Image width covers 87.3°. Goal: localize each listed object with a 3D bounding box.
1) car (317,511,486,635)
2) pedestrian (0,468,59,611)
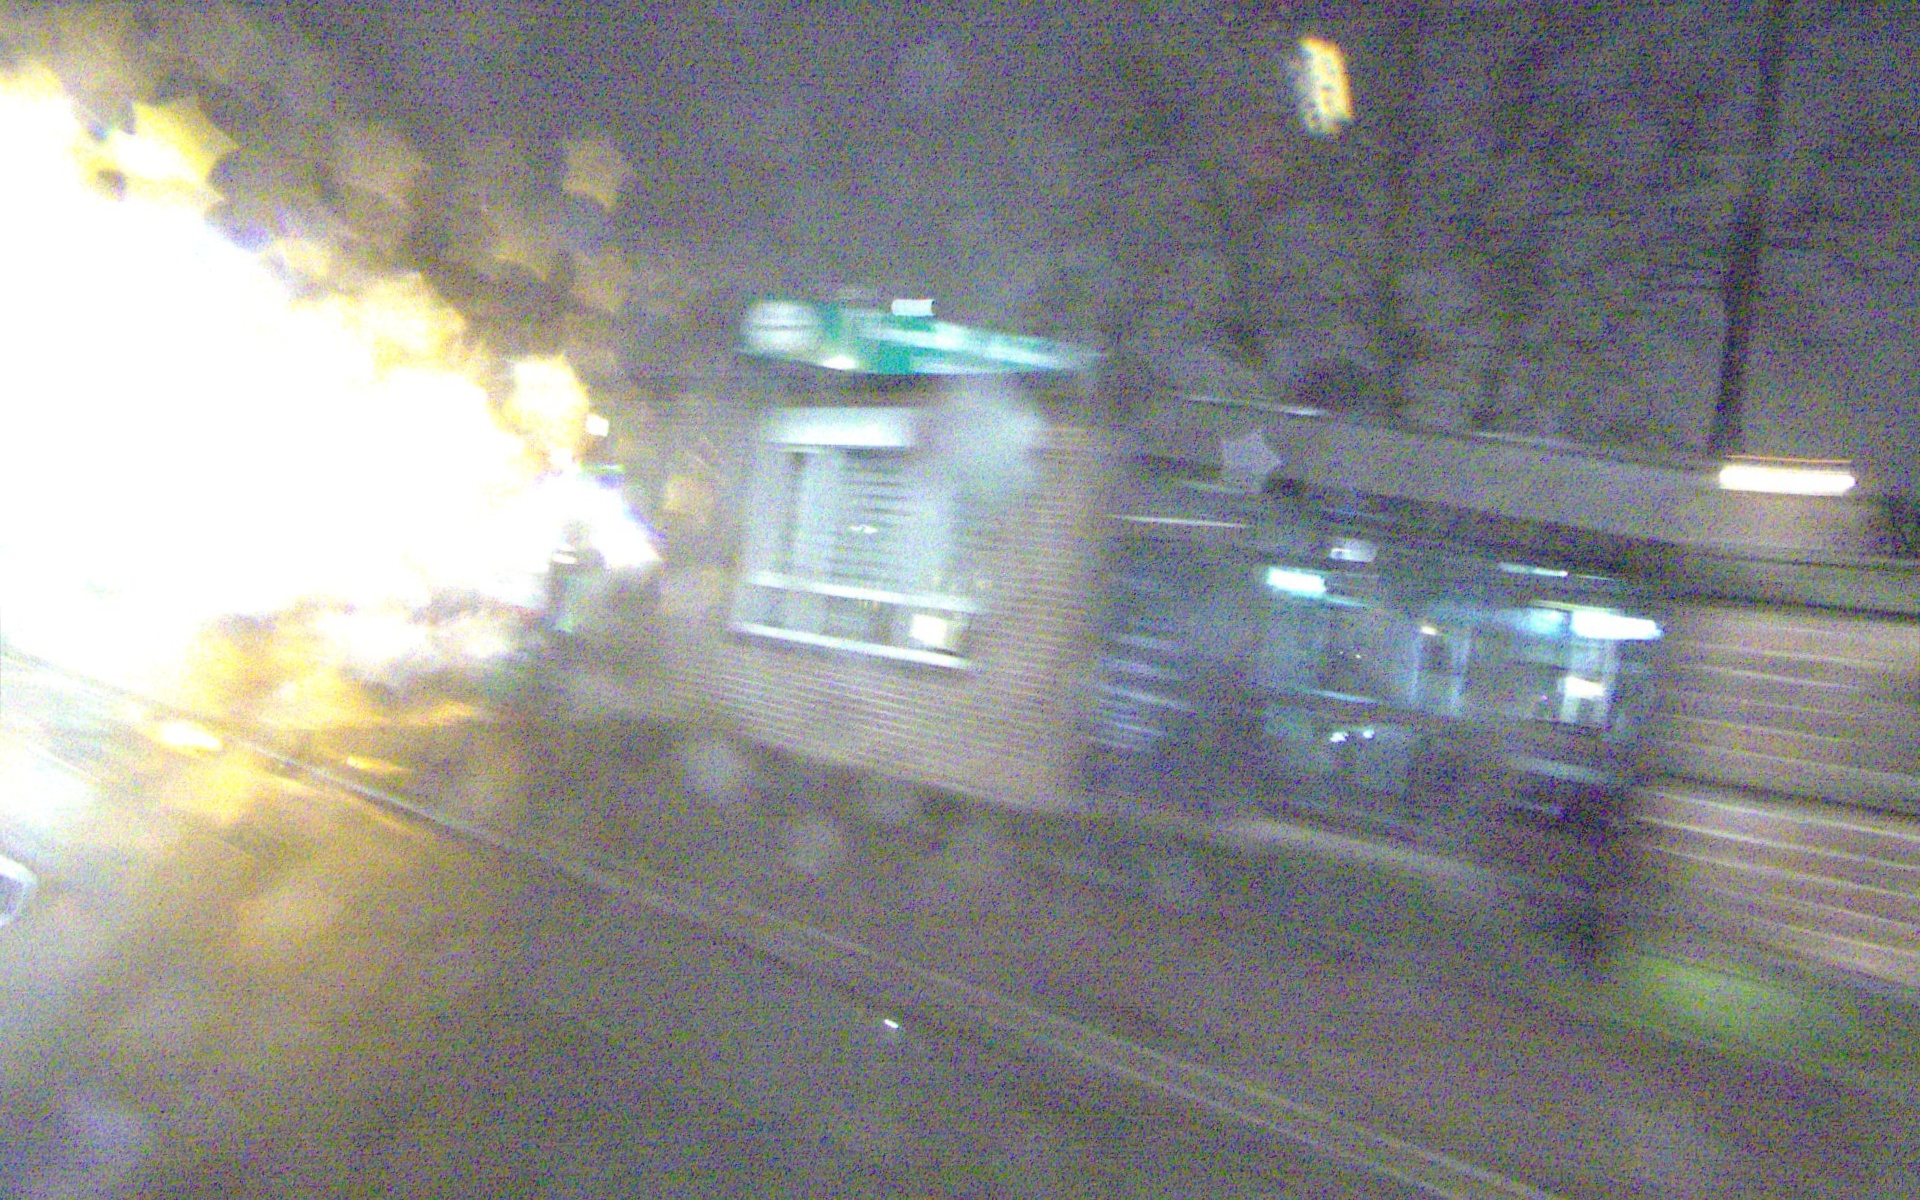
[{"bbox_3d":[-9.872,-0.448,18.127,2.005,1.719,4.102,8,-2,-22],"label":"car"},{"bbox_3d":[-12.581,-0.815,13.320,0.775,1.796,0.685,8,-1,-41],"label":"pedestrian"}]
